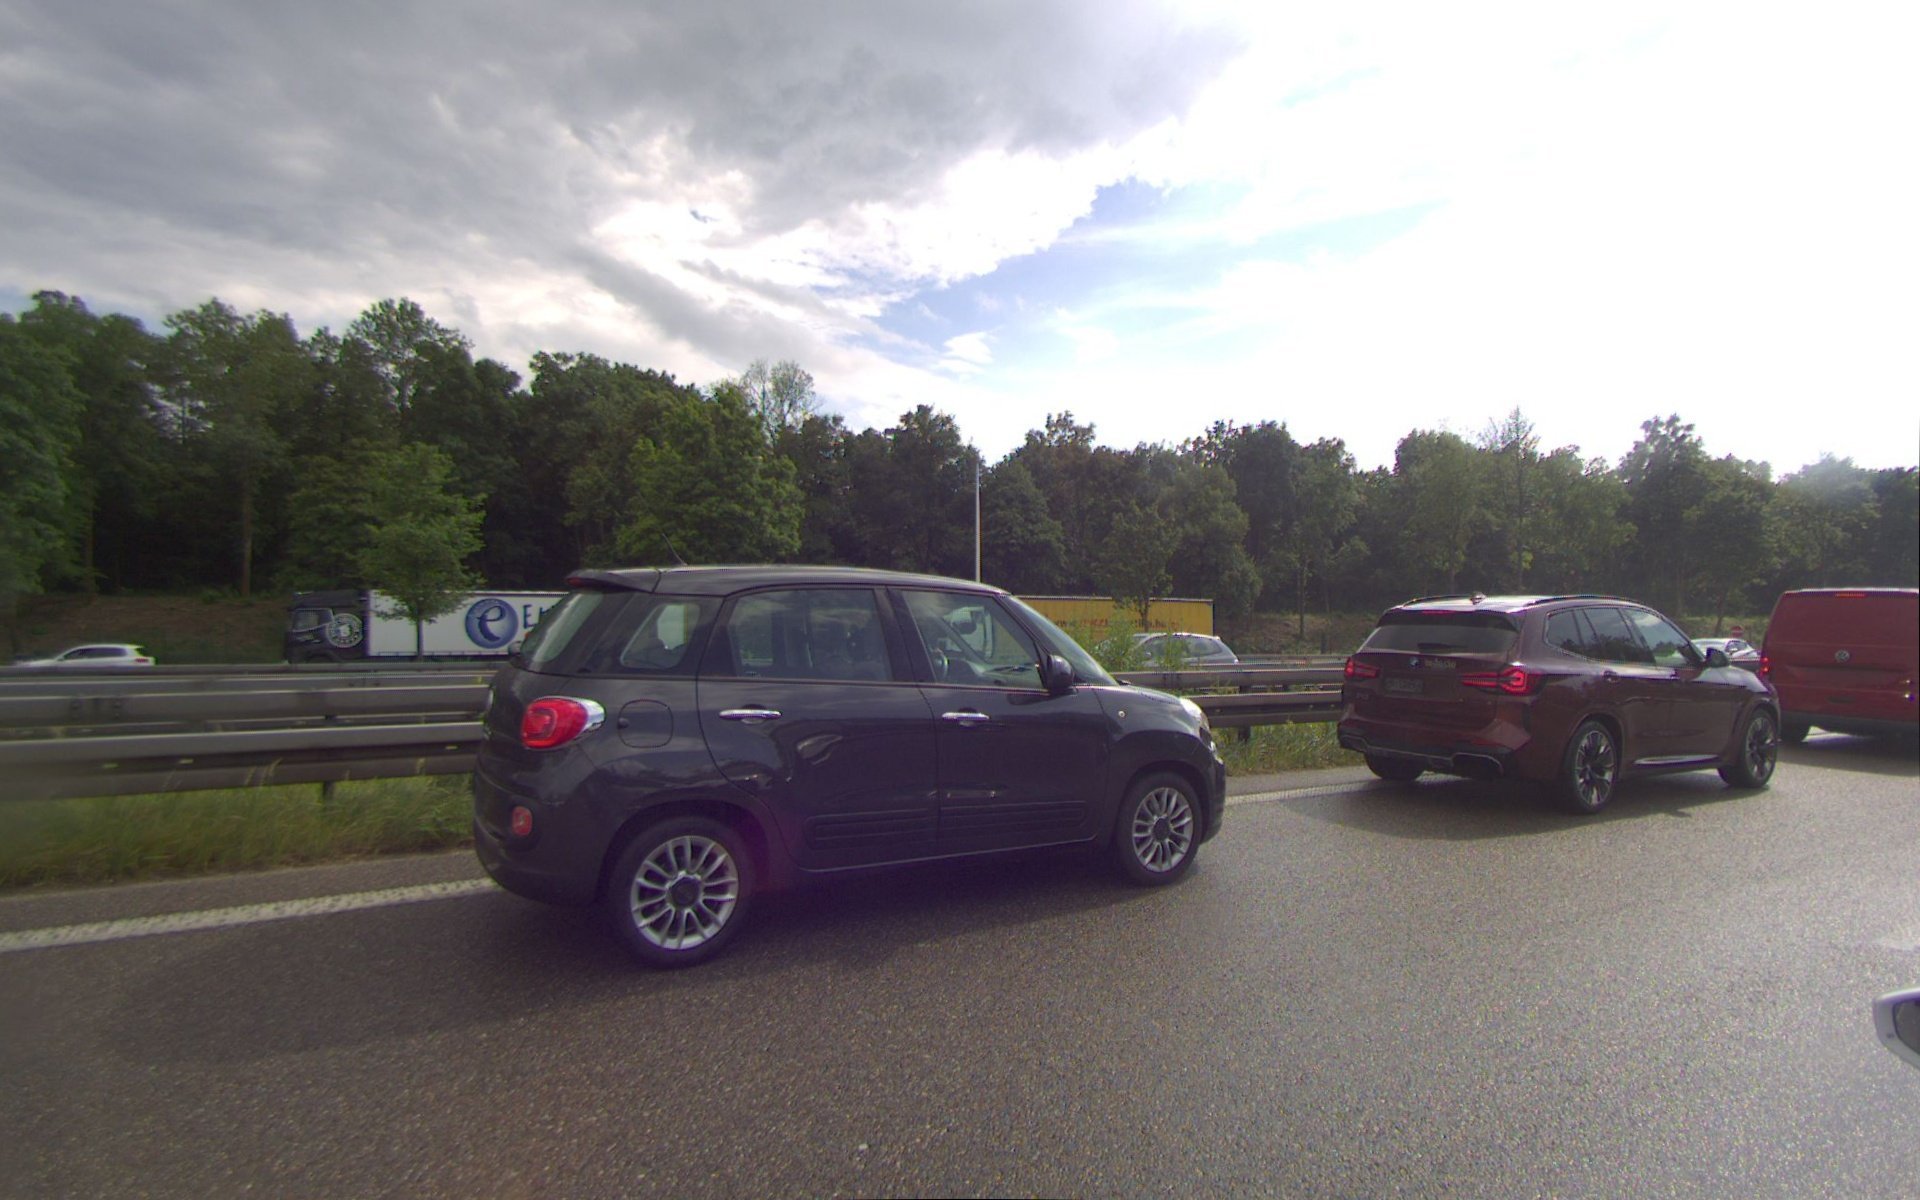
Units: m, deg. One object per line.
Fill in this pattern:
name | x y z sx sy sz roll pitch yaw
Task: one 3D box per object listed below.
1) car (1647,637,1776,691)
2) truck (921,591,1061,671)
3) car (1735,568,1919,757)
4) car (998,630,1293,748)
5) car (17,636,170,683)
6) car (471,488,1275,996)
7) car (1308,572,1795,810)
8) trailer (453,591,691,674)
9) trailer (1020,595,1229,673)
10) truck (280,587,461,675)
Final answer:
car | 27.851 2.328 37.169 5.150 1.799 2.041 2 0 -31
truck | 1.692 1.717 56.359 6.933 4.171 3.786 2 0 -17
car | 12.204 0.746 12.856 4.700 2.082 1.969 2 0 -30
car | 3.404 1.505 18.054 5.150 1.799 2.041 2 0 -31
car | -35.314 2.422 41.118 4.313 1.741 2.050 2 0 -28
car | -0.339 0.558 5.373 3.931 1.829 1.683 2 0 -32
car | 5.419 0.718 9.042 4.565 1.658 1.899 2 -2 -32
trailer | -18.651 1.589 48.764 10.350 3.697 3.780 1 -1 -24
trailer | 9.609 1.977 58.831 11.538 4.171 3.786 2 0 -17
truck | -26.279 1.383 45.263 6.615 3.709 3.776 2 0 -25
